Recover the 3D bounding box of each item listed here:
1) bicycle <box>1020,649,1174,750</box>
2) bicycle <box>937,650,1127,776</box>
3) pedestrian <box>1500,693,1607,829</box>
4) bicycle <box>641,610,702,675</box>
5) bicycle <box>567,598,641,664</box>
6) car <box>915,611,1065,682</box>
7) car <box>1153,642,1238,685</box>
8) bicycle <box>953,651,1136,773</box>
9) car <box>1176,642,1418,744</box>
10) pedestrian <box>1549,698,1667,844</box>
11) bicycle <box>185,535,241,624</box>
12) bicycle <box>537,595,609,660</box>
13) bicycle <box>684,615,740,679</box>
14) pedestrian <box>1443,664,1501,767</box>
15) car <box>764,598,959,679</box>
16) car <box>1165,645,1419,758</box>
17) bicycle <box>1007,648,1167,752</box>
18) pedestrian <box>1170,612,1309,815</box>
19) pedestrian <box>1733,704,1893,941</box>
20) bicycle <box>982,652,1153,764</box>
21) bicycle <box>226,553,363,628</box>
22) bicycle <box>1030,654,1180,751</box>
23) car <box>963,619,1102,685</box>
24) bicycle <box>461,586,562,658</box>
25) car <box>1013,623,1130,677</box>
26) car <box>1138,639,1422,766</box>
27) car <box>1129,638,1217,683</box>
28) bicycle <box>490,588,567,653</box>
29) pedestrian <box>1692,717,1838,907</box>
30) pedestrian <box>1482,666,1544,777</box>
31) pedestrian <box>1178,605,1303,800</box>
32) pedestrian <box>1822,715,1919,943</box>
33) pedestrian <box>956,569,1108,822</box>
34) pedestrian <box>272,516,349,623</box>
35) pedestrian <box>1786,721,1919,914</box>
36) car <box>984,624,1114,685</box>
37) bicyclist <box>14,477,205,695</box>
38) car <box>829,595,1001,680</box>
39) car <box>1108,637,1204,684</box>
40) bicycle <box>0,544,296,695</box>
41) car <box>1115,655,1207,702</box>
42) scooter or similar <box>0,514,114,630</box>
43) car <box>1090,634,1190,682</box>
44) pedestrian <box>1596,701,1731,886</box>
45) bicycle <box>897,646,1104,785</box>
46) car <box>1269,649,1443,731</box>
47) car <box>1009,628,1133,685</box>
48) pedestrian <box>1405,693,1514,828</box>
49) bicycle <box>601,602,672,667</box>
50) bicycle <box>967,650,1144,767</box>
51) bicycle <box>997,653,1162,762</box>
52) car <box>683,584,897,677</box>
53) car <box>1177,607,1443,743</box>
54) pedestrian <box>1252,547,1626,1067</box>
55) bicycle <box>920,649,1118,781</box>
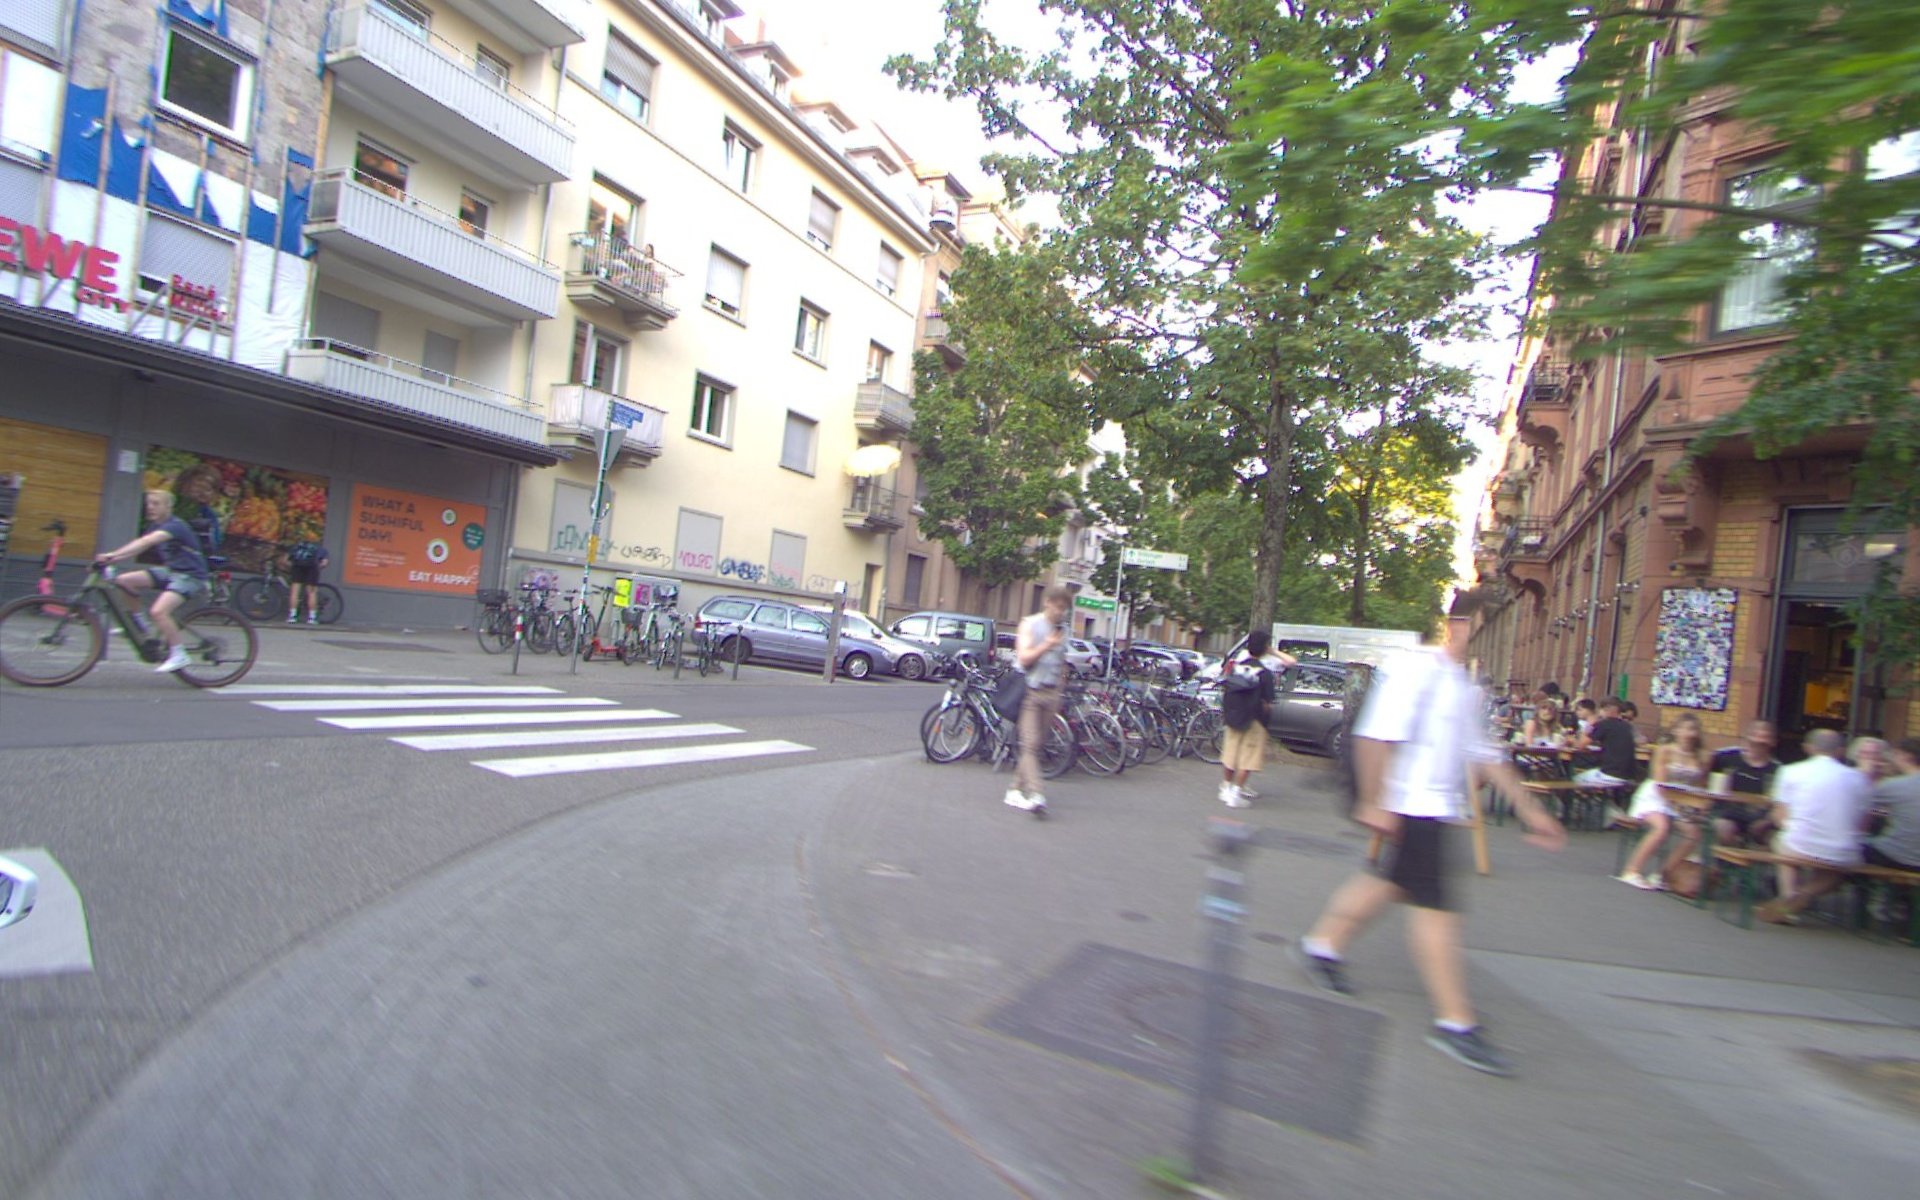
[{"bbox_3d":[1.898,1.371,14.067,1.998,1.147,0.435,5,-2,23],"label":"bicycle"},{"bbox_3d":[0.793,1.240,11.297,1.998,1.147,0.435,5,-2,23],"label":"bicycle"},{"bbox_3d":[6.567,1.767,11.158,0.726,1.361,0.628,6,-2,5],"label":"pedestrian"},{"bbox_3d":[-5.120,0.764,17.990,0.482,1.038,2.017,6,-2,-2],"label":"bicycle"},{"bbox_3d":[-6.239,0.567,17.740,0.482,1.038,2.017,6,-2,1],"label":"bicycle"},{"bbox_3d":[0.944,1.531,33.029,4.469,1.805,1.997,7,-2,-12],"label":"car"},{"bbox_3d":[13.616,3.668,58.362,4.457,1.955,2.003,6,-2,6],"label":"car"},{"bbox_3d":[0.969,1.281,11.753,1.998,1.147,0.435,5,-2,23],"label":"bicycle"},{"bbox_3d":[7.075,1.919,21.157,4.466,1.543,1.999,5,-3,28],"label":"car"},{"bbox_3d":[6.728,1.751,10.468,0.726,1.361,0.628,6,-2,5],"label":"pedestrian"},{"bbox_3d":[-11.014,-0.324,14.816,0.347,1.217,1.788,7,-2,-43],"label":"bicycle"},{"bbox_3d":[-6.784,0.506,17.709,0.371,1.038,2.017,6,-2,1],"label":"bicycle"},{"bbox_3d":[-4.417,0.844,18.016,0.482,1.038,2.017,6,-2,-2],"label":"bicycle"},{"bbox_3d":[9.038,2.029,17.737,0.734,1.696,0.765,5,-2,31],"label":"pedestrian"},{"bbox_3d":[-2.456,1.000,25.697,4.457,1.543,2.003,6,-2,11],"label":"car"},{"bbox_3d":[6.264,1.867,19.044,4.219,1.543,1.910,5,-3,28],"label":"car"},{"bbox_3d":[1.704,1.333,13.600,1.998,1.147,0.435,5,-2,23],"label":"bicycle"},{"bbox_3d":[2.632,1.045,9.448,0.856,1.743,0.834,5,-2,39],"label":"pedestrian"},{"bbox_3d":[5.516,1.413,6.530,0.458,1.396,0.547,6,-1,-1],"label":"pedestrian"},{"bbox_3d":[1.338,1.332,12.628,1.998,1.147,0.435,5,-2,23],"label":"bicycle"},{"bbox_3d":[-10.928,-0.130,16.589,0.371,1.038,1.882,5,-3,25],"label":"bicycle"},{"bbox_3d":[2.082,1.458,14.502,1.998,1.147,0.435,5,-2,23],"label":"bicycle"},{"bbox_3d":[2.573,1.851,36.035,4.469,1.805,1.997,7,-2,-12],"label":"car"},{"bbox_3d":[-7.286,0.388,16.414,0.371,1.038,1.663,5,-2,19],"label":"bicycle"},{"bbox_3d":[4.772,2.129,43.333,4.467,1.805,1.998,7,-2,-9],"label":"car"},{"bbox_3d":[5.407,1.676,17.056,4.219,1.543,1.910,5,-3,28],"label":"car"},{"bbox_3d":[11.840,3.369,56.238,4.457,1.955,2.003,6,-2,6],"label":"car"},{"bbox_3d":[-7.561,0.391,17.708,0.371,1.038,2.017,6,-2,1],"label":"bicycle"},{"bbox_3d":[6.043,1.569,7.574,0.563,1.284,0.547,6,-2,3],"label":"pedestrian"},{"bbox_3d":[9.086,1.975,16.521,0.734,1.696,0.765,5,-2,31],"label":"pedestrian"},{"bbox_3d":[2.875,1.034,10.406,0.853,1.849,0.837,6,-2,-4],"label":"pedestrian"},{"bbox_3d":[6.205,1.494,6.633,0.458,1.396,0.547,6,-1,-1],"label":"pedestrian"},{"bbox_3d":[0.601,0.745,8.100,0.822,1.849,0.868,5,-2,22],"label":"pedestrian"},{"bbox_3d":[-10.528,-0.486,16.307,0.706,1.619,0.665,5,-2,32],"label":"pedestrian"},{"bbox_3d":[6.698,1.592,7.477,0.563,1.284,0.547,6,-2,3],"label":"pedestrian"},{"bbox_3d":[3.350,2.062,38.477,4.467,1.805,1.998,7,-2,-9],"label":"car"},{"bbox_3d":[-7.243,-0.107,8.579,0.780,1.709,0.994,7,0,40],"label":"bicyclist"},{"bbox_3d":[-1.195,1.053,28.066,4.459,1.805,2.002,6,-2,1],"label":"car"},{"bbox_3d":[9.820,3.048,50.772,4.457,1.805,2.003,6,-2,6],"label":"car"},{"bbox_3d":[-7.208,0.190,8.661,0.780,1.085,2.276,7,-1,40],"label":"bicycle"},{"bbox_3d":[10.593,4.122,53.380,4.457,1.955,2.003,6,-2,6],"label":"car"},{"bbox_3d":[-11.303,-0.351,12.594,1.265,1.281,0.322,8,-1,16],"label":"scooter or similar"},{"bbox_3d":[8.624,2.805,48.496,4.457,1.805,2.003,6,-2,6],"label":"car"},{"bbox_3d":[5.405,1.463,7.758,0.563,1.284,0.547,6,-2,3],"label":"pedestrian"},{"bbox_3d":[0.397,1.158,10.355,1.998,1.147,0.435,5,-2,23],"label":"bicycle"},{"bbox_3d":[11.558,2.601,29.398,4.464,1.805,2.000,5,-2,26],"label":"car"},{"bbox_3d":[4.460,2.285,40.800,4.467,1.805,1.998,7,-2,-9],"label":"car"},{"bbox_3d":[5.137,1.630,10.381,0.726,1.246,0.628,6,-2,5],"label":"pedestrian"},{"bbox_3d":[-5.679,0.630,17.772,0.482,1.038,2.017,6,-2,1],"label":"bicycle"},{"bbox_3d":[1.141,1.288,12.190,1.998,1.147,0.435,5,-2,23],"label":"bicycle"},{"bbox_3d":[1.538,1.371,13.065,1.998,1.147,0.435,5,-2,23],"label":"bicycle"},{"bbox_3d":[-3.845,0.712,22.933,4.469,1.543,1.998,7,-2,-11],"label":"car"},{"bbox_3d":[8.115,1.692,23.494,5.443,2.448,2.246,5,-2,24],"label":"car"},{"bbox_3d":[1.867,0.767,4.075,0.853,1.790,0.948,6,-2,-7],"label":"pedestrian"},{"bbox_3d":[0.616,1.206,10.838,1.998,1.147,0.435,5,-2,23],"label":"bicycle"}]
